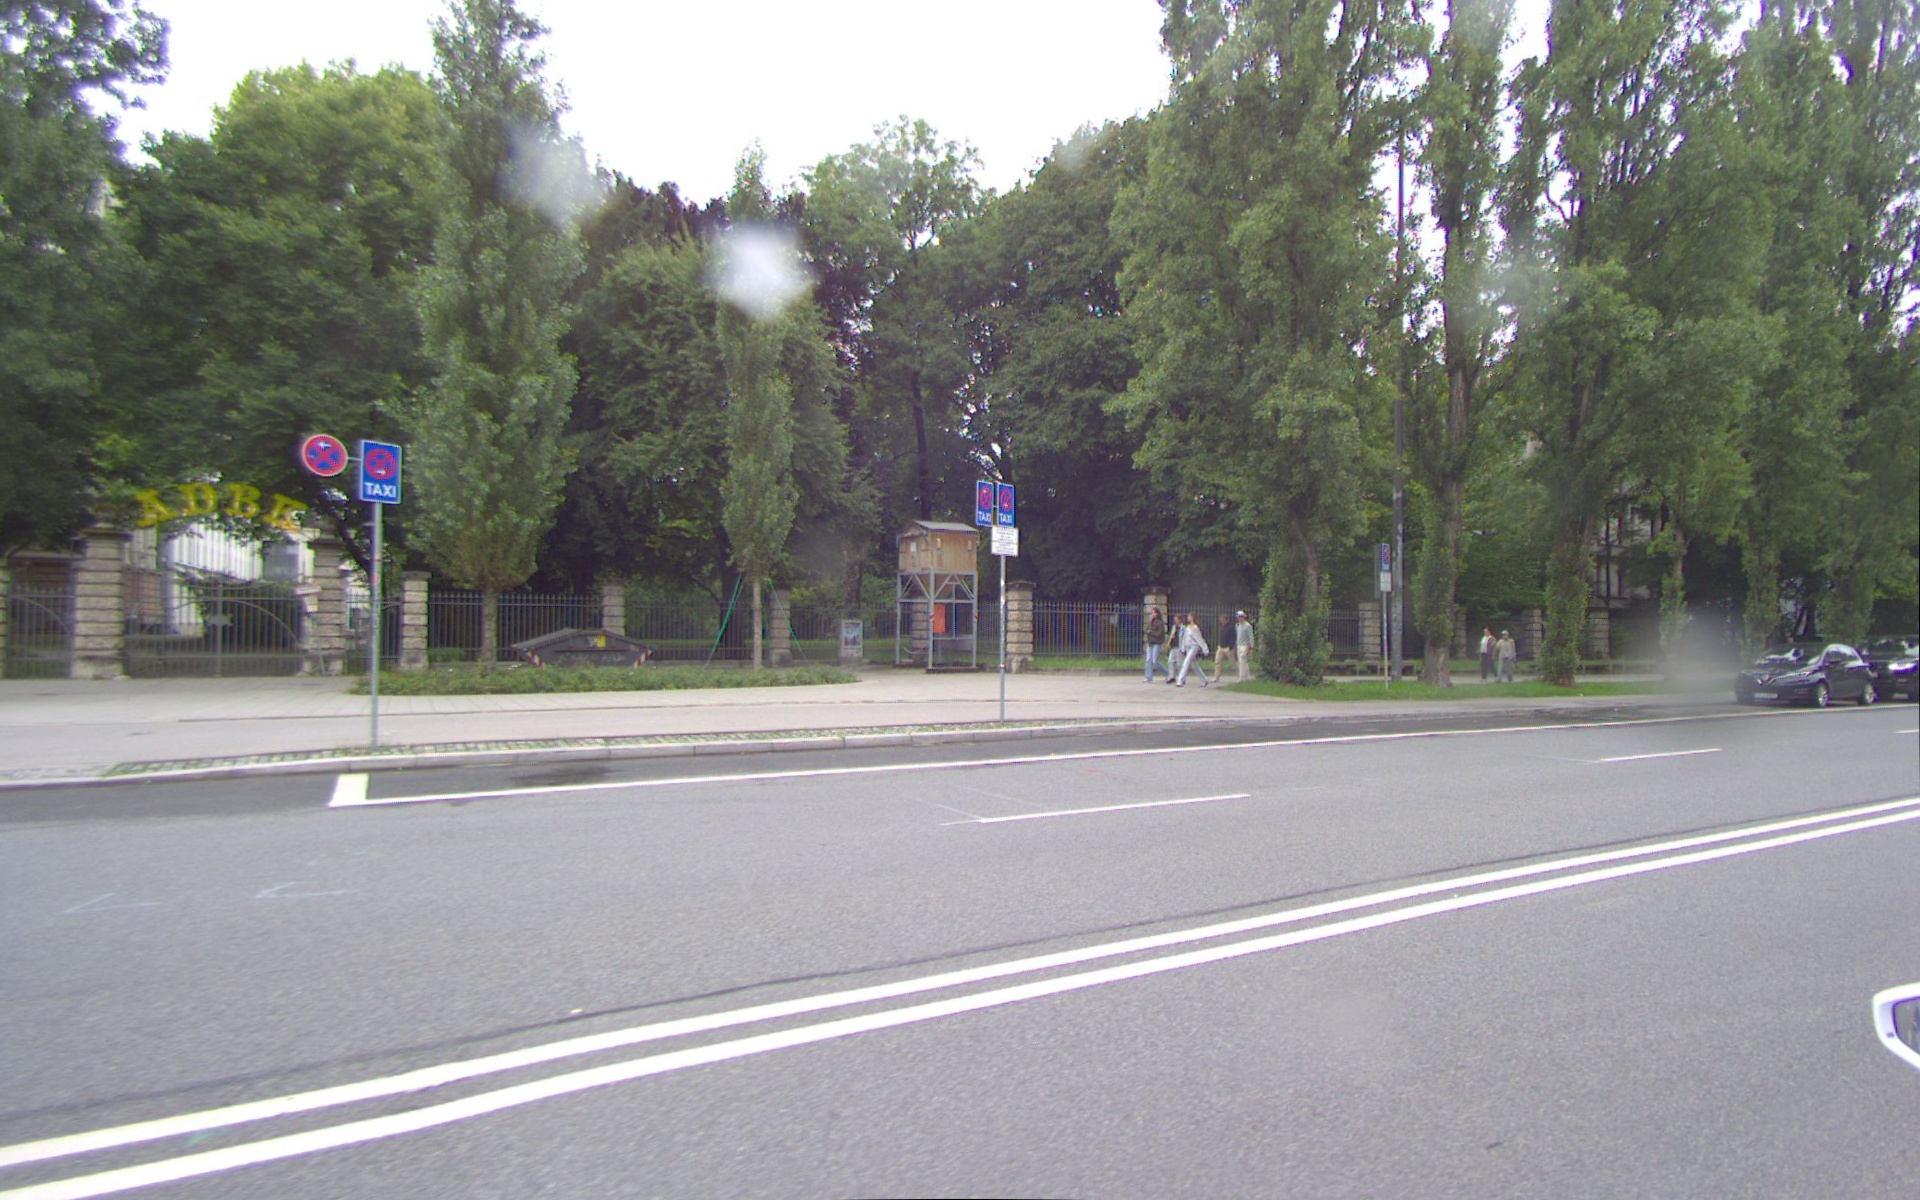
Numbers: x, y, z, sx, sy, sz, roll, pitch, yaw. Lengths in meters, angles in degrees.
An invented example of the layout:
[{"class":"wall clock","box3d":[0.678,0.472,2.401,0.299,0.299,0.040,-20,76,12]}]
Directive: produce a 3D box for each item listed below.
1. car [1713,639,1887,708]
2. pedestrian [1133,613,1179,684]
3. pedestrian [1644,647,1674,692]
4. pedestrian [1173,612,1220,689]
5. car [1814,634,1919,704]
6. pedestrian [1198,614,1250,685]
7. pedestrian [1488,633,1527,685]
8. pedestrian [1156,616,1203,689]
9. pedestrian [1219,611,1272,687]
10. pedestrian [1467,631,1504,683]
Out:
[{"class":"car","box3d":[21.240,1.812,25.381,4.335,1.604,1.937,2,-3,-29]},{"class":"pedestrian","box3d":[4.876,1.192,24.957,0.900,1.739,0.656,1,-1,-30]},{"class":"pedestrian","box3d":[28.163,2.791,40.465,0.945,1.764,0.663,2,-1,-29]},{"class":"pedestrian","box3d":[5.597,1.184,23.758,0.897,1.770,0.627,1,-1,-30]},{"class":"car","box3d":[26.310,1.906,28.152,4.741,1.809,2.038,2,-4,-29]},{"class":"pedestrian","box3d":[6.871,1.286,26.149,1.080,1.796,0.706,2,0,-30]},{"class":"pedestrian","box3d":[16.887,1.809,30.973,0.865,1.569,0.714,1,-1,-31]},{"class":"pedestrian","box3d":[5.326,1.262,24.409,0.875,1.722,0.684,1,-1,-30]},{"class":"pedestrian","box3d":[7.261,1.242,25.548,1.080,1.858,0.706,2,0,-30]},{"class":"pedestrian","box3d":[16.547,1.787,31.636,0.803,1.626,0.714,1,-1,-30]}]
